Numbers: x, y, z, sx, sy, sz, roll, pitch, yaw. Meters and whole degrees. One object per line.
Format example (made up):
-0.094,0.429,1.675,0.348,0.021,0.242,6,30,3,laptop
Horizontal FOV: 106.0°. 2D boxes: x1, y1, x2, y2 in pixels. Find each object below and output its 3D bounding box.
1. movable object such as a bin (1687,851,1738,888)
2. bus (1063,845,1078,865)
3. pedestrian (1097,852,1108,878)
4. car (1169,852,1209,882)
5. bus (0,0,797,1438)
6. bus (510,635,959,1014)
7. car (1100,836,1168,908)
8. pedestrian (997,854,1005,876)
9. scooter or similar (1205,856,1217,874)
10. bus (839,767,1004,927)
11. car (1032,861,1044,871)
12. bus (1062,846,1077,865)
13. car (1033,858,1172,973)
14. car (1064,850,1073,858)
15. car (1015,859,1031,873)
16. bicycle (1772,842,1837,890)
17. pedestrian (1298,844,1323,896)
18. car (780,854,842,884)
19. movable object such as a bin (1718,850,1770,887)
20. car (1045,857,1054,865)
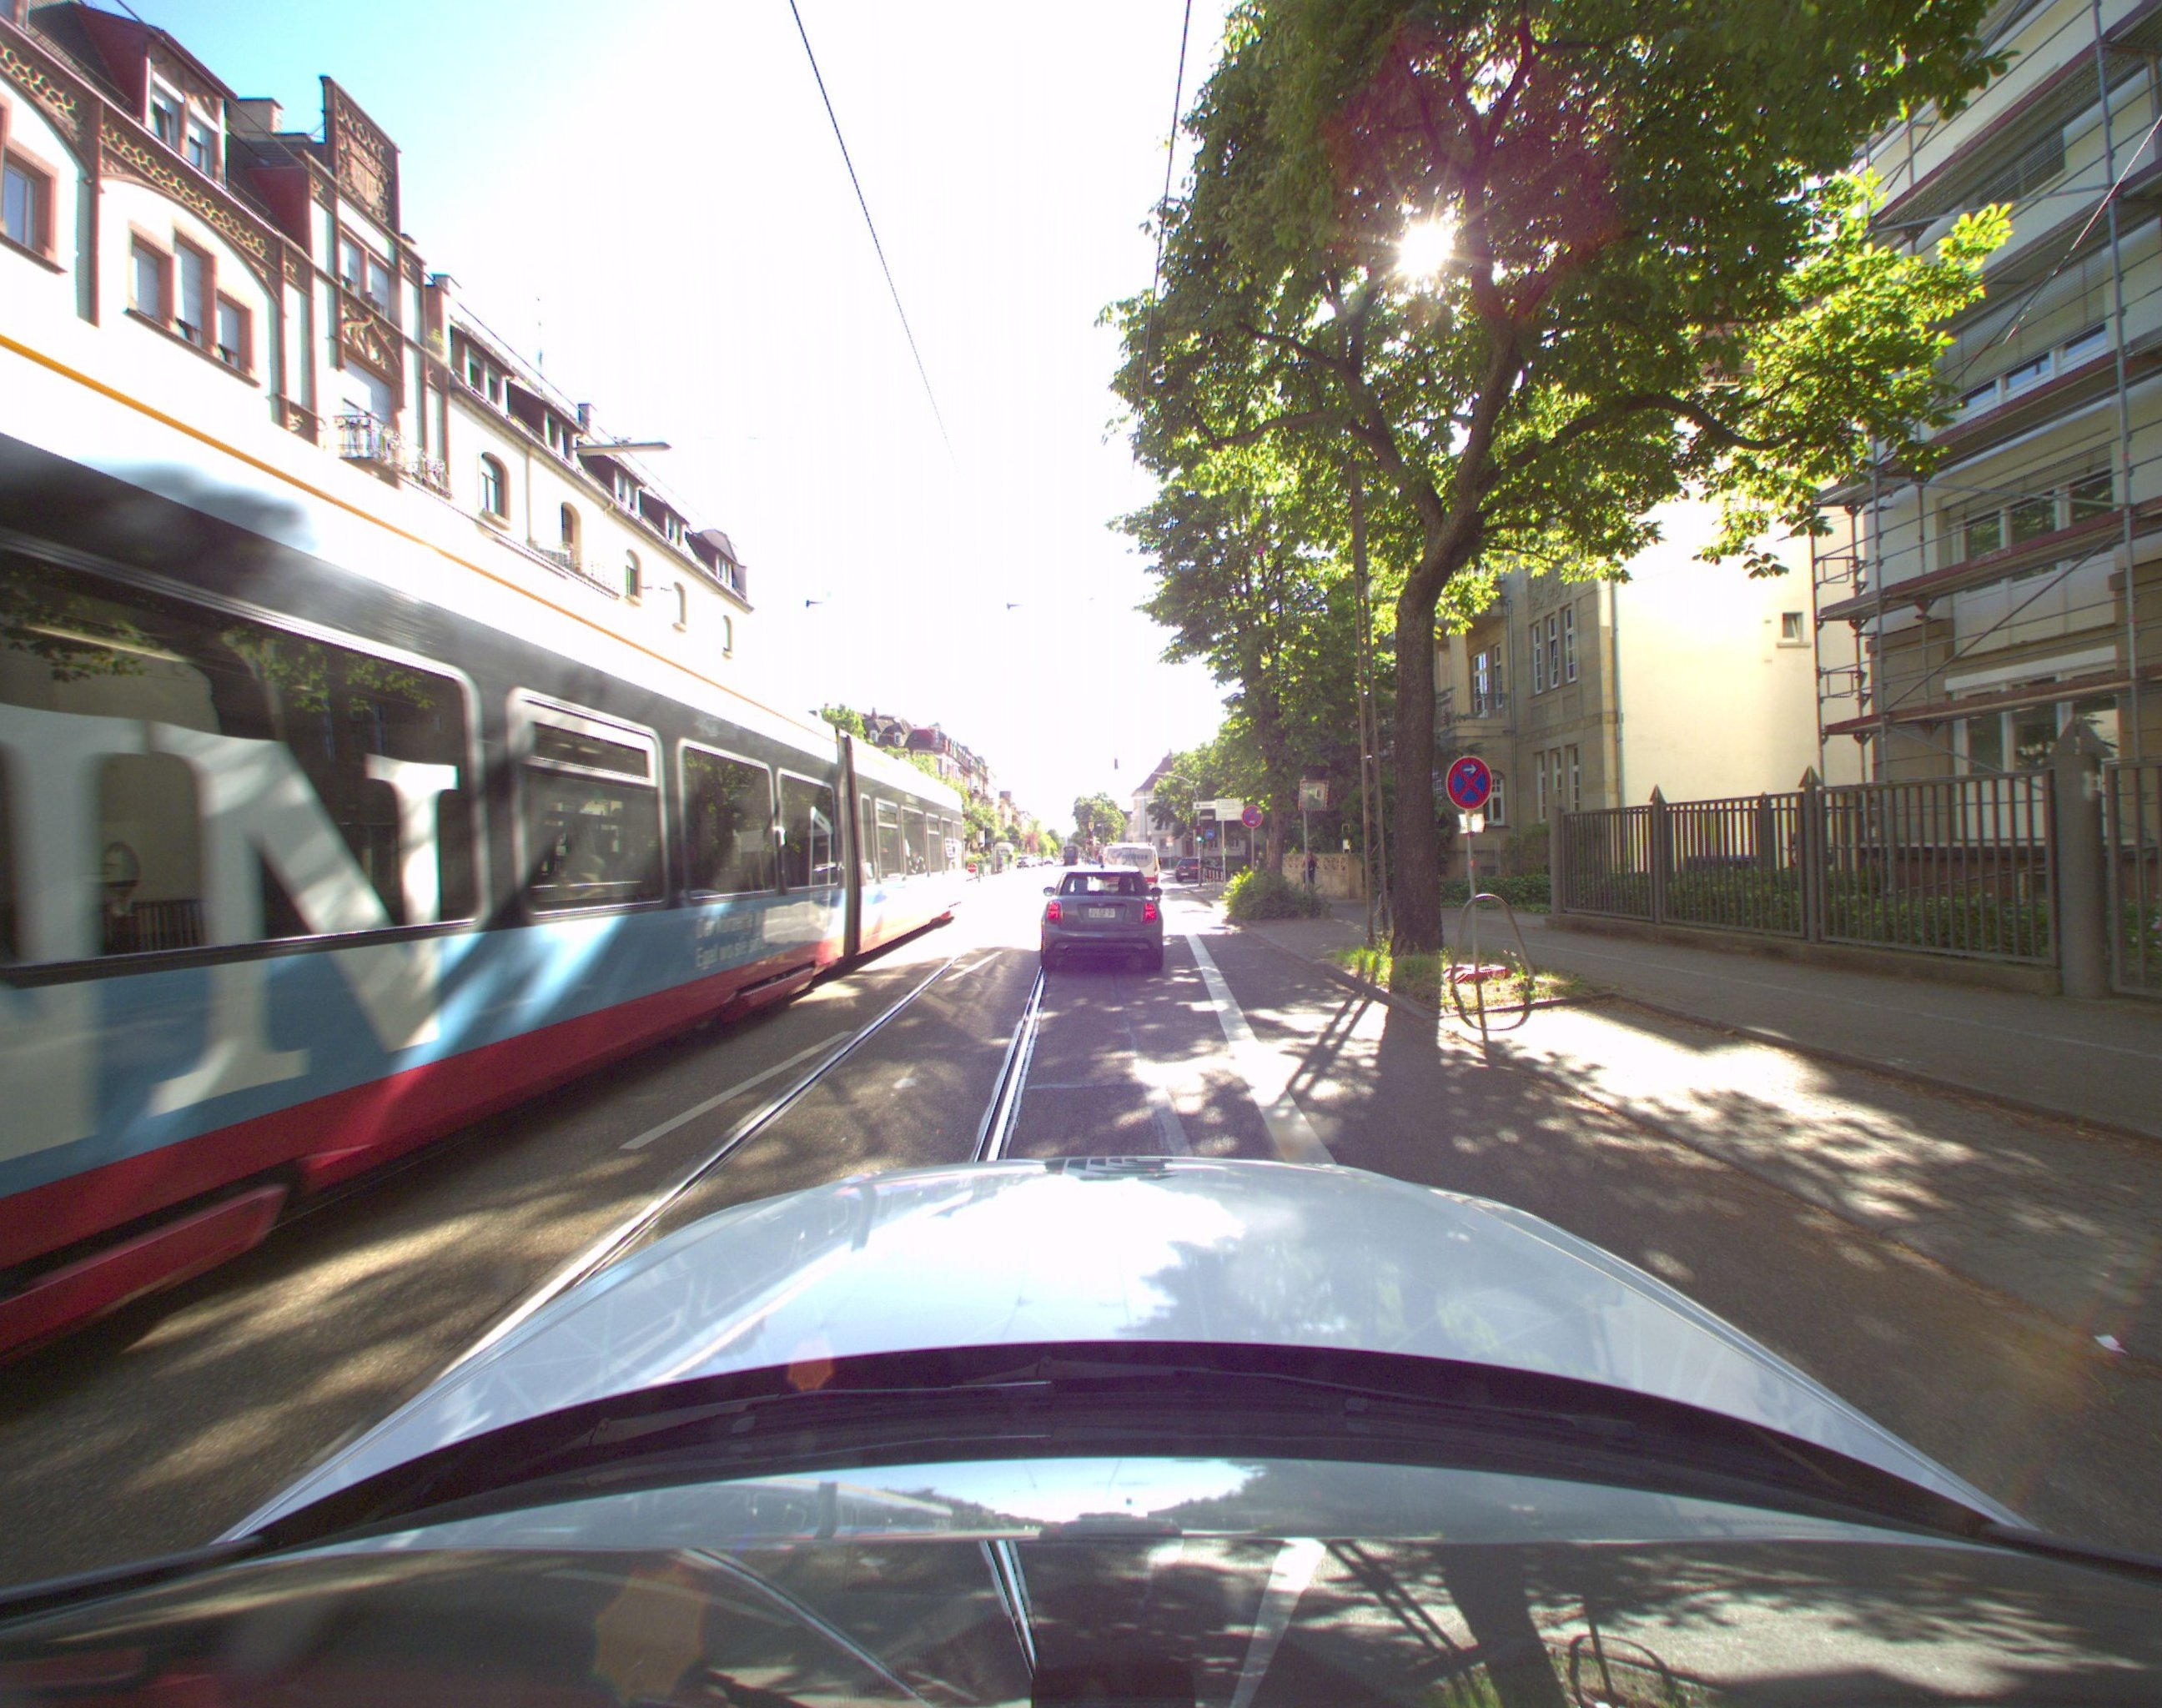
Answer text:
16.659,0.396,21.503,0.831,0.955,0.648,0,-1,0,movable object such as a bin
-1.859,0.232,142.961,2.379,3.496,7.377,0,-1,-2,bus
1.667,0.867,63.173,0.793,2.014,0.740,0,-1,0,pedestrian
6.481,0.780,49.114,1.986,1.706,4.002,0,-1,2,car
-4.193,-0.388,2.268,2.851,3.777,11.493,0,-1,-1,bus
-4.290,-0.243,13.733,2.851,3.777,11.179,0,-1,-1,bus
1.721,0.583,27.726,2.110,2.208,4.946,0,-1,2,car
-6.747,0.926,68.792,0.579,1.795,0.604,-2,0,-17,pedestrian
9.285,0.773,58.242,0.673,1.310,1.329,0,-1,1,scooter or similar
-4.342,-0.096,25.344,2.841,3.777,12.192,0,-1,-1,bus
-7.118,2.026,134.902,1.771,1.618,3.997,0,-1,-2,car
-2.156,0.314,150.390,2.379,3.496,7.377,0,-1,-2,bus
0.342,0.827,12.616,1.809,1.488,4.001,0,-1,2,car
-2.629,0.015,175.698,1.859,1.563,3.997,0,-1,-2,car
-8.327,1.711,116.779,1.988,2.014,5.026,0,-1,-2,car
18.817,0.307,21.180,1.697,1.199,0.434,0,-1,-16,bicycle
7.532,0.517,26.743,0.590,1.671,0.647,-3,-1,1,pedestrian
-19.000,1.066,57.222,3.949,2.014,2.012,-1,-1,30,car
17.525,0.391,21.535,0.831,0.955,0.648,0,-1,0,movable object such as a bin
-6.222,1.421,161.625,1.771,1.618,3.997,0,-1,-2,car
